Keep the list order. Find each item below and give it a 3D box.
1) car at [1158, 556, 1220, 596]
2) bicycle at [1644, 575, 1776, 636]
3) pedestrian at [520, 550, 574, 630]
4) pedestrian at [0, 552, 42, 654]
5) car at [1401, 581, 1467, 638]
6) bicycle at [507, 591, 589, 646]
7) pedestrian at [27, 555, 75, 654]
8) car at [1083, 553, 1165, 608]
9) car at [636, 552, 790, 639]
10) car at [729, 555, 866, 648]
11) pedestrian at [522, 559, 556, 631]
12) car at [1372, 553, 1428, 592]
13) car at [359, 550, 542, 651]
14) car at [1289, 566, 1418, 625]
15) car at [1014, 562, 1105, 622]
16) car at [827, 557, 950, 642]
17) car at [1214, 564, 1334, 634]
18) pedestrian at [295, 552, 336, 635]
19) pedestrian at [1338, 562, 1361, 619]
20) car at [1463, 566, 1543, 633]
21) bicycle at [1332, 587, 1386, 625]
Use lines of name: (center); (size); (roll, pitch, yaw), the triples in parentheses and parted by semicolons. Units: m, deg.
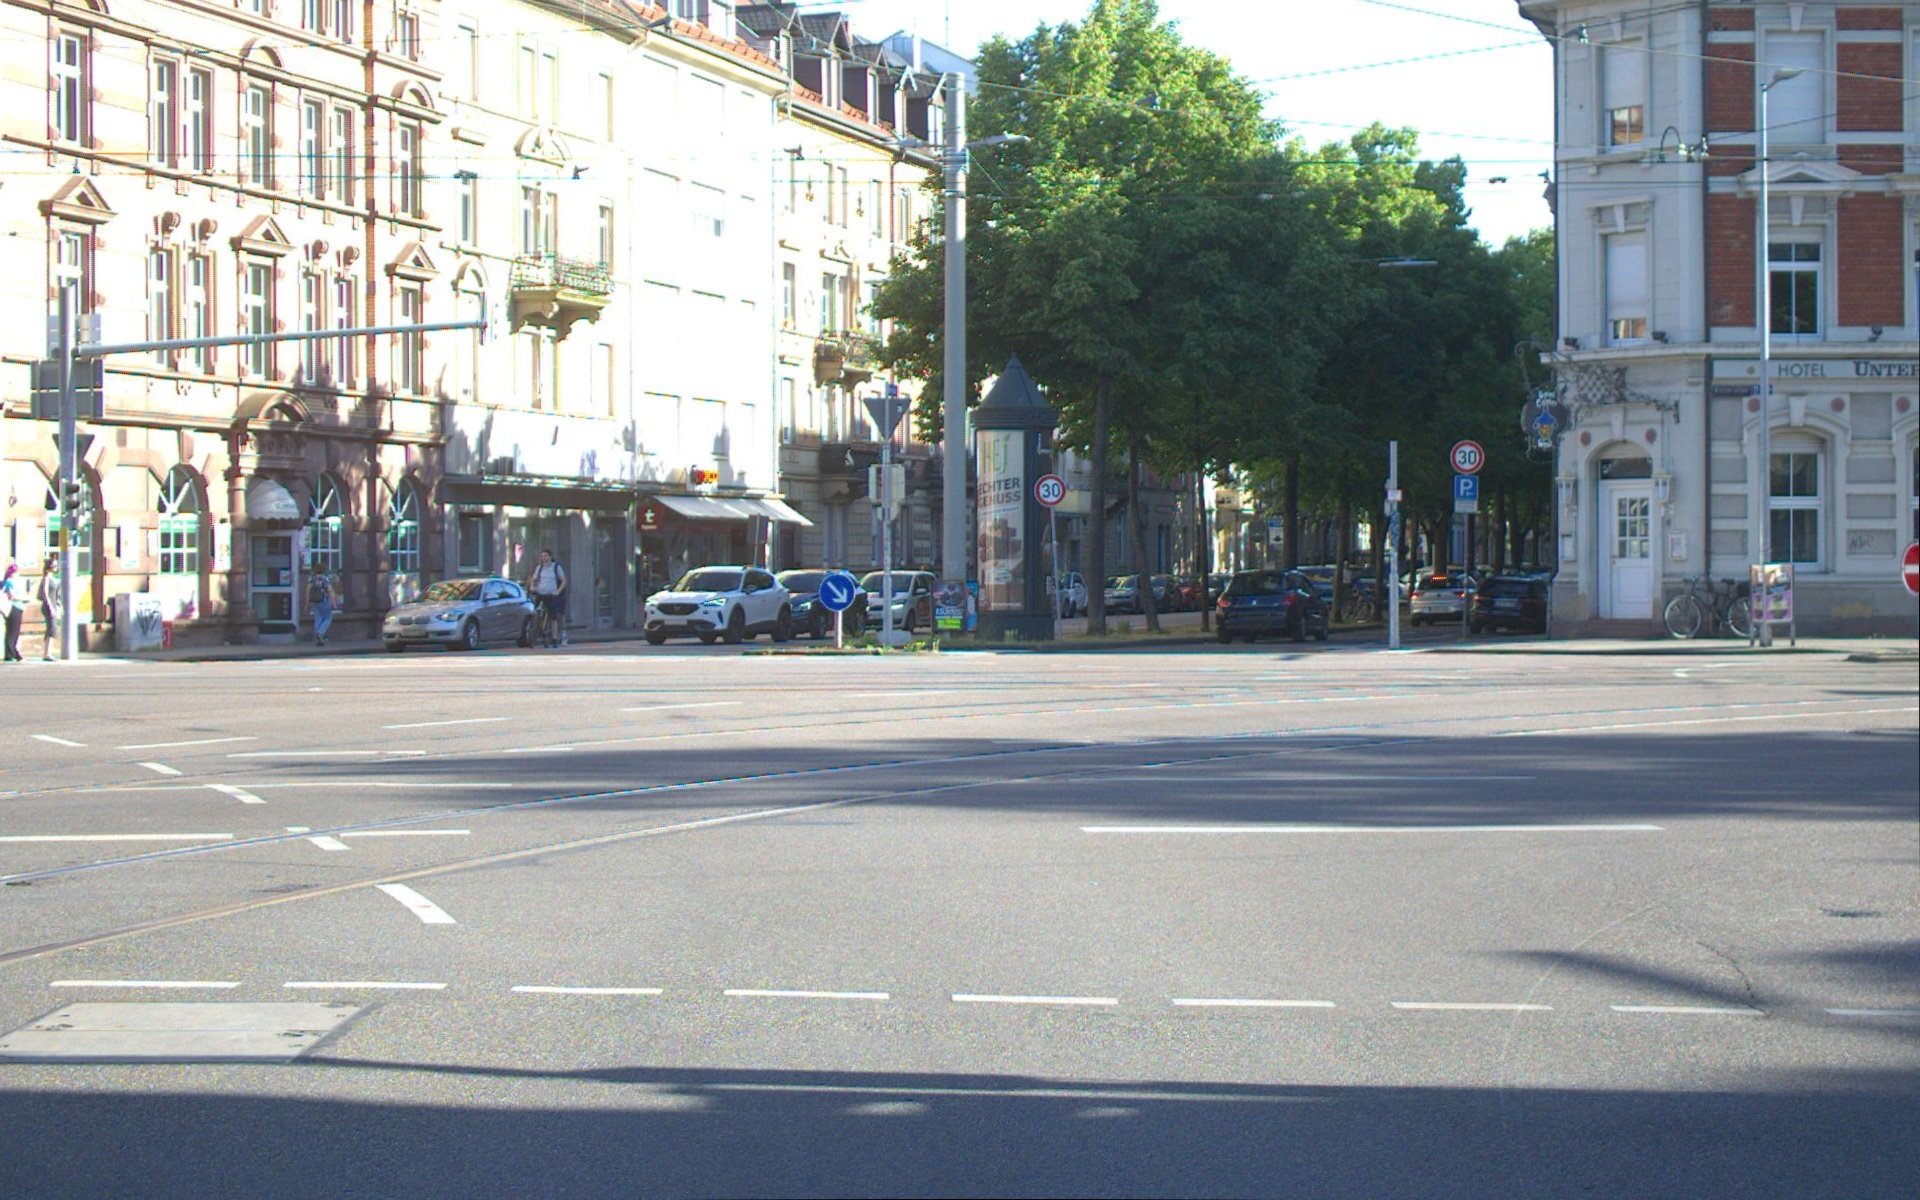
car: (8.817, -0.923, 132.219); (1.560, 1.508, 3.653); (1, 1, 17)
bicycle: (12.449, 0.083, 57.095); (2.049, 0.994, 0.630); (0, 0, 3)
pedestrian: (-7.832, -0.190, 65.211); (0.821, 1.507, 0.598); (1, 0, 15)
pedestrian: (-15.335, 0.045, 55.908); (0.633, 1.628, 0.701); (1, 0, -4)
car: (13.220, 0.255, 95.775); (1.772, 1.525, 3.999); (1, 1, 8)
bicycle: (-7.818, 0.337, 65.290); (0.763, 1.004, 2.395); (1, 1, 13)
pedestrian: (-15.143, 0.074, 57.278); (0.633, 1.628, 0.701); (1, 0, -4)
car: (5.857, -0.688, 122.497); (1.995, 1.897, 3.997); (1, 1, 17)
car: (-4.803, -0.102, 67.307); (1.994, 1.612, 3.998); (1, 1, 11)
car: (-3.453, 0.016, 73.781); (1.994, 1.897, 3.998); (1, 1, 11)
pedestrian: (-9.567, -0.115, 78.170); (0.544, 1.626, 0.706); (1, 0, 13)
car: (17.231, -1.071, 134.554); (1.560, 1.508, 3.653); (1, 1, 17)
car: (-9.905, -0.007, 67.114); (1.995, 1.897, 3.997); (1, 1, 17)
car: (13.159, -0.166, 114.976); (3.990, 1.897, 1.998); (1, 0, 16)
car: (3.278, -0.281, 112.706); (1.995, 1.897, 3.997); (1, 1, 17)
car: (-1.627, -0.019, 79.801); (1.994, 1.897, 3.998); (1, 1, 11)
car: (6.439, -0.032, 70.214); (1.755, 1.357, 3.853); (1, 1, 16)
pedestrian: (-12.729, -0.125, 67.947); (0.544, 1.626, 0.706); (1, 0, 13)
pedestrian: (12.185, -0.300, 107.651); (0.640, 1.790, 0.490); (1, 0, 12)
car: (13.065, -0.025, 82.595); (1.692, 1.559, 3.839); (1, 1, 11)
bicycle: (11.503, 0.167, 99.074); (0.626, 1.081, 1.703); (1, 1, -31)
